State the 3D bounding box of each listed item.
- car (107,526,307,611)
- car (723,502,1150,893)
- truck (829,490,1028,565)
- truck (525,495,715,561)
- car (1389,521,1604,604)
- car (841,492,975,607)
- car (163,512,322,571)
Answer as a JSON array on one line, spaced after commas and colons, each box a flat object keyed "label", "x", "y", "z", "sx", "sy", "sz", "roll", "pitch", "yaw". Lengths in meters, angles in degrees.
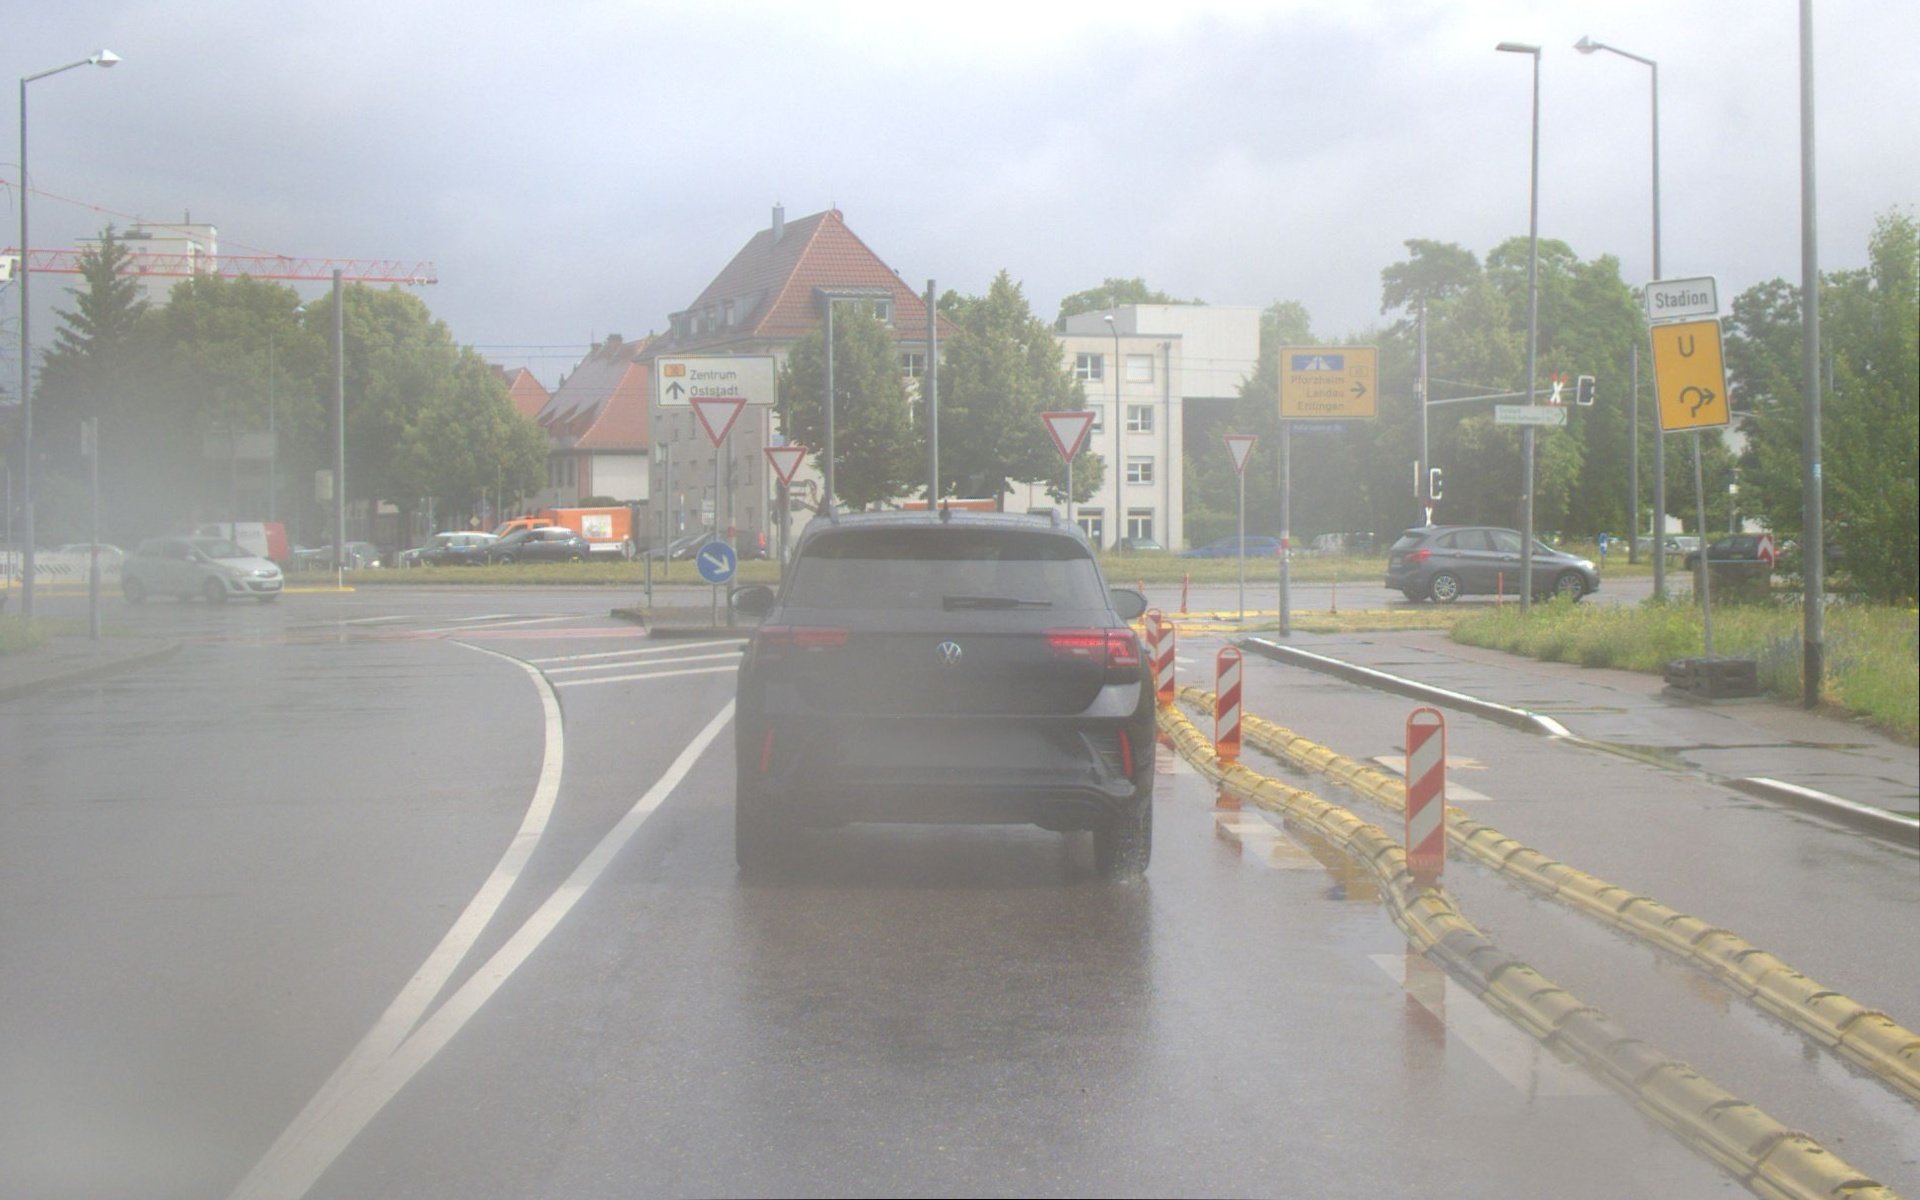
[{"label": "car", "x": -16.453, "y": -0.702, "z": 75.109, "sx": 3.994, "sy": 1.824, "sz": 1.997, "roll": 0, "pitch": 1, "yaw": 31}, {"label": "car", "x": -0.218, "y": 0.372, "z": 15.801, "sx": 1.708, "sy": 1.568, "sz": 3.683, "roll": 1, "pitch": 1, "yaw": -4}, {"label": "truck", "x": -1.111, "y": -2.610, "z": 123.856, "sx": 7.066, "sy": 2.641, "sz": 2.330, "roll": 0, "pitch": 1, "yaw": 1}, {"label": "truck", "x": -12.838, "y": -2.735, "z": 129.845, "sx": 6.701, "sy": 2.434, "sz": 2.435, "roll": -1, "pitch": 1, "yaw": -24}, {"label": "car", "x": 10.828, "y": -0.764, "z": 69.380, "sx": 3.940, "sy": 1.639, "sz": 1.671, "roll": 0, "pitch": 1, "yaw": -18}, {"label": "car", "x": -0.812, "y": -0.845, "z": 56.526, "sx": 1.864, "sy": 1.803, "sz": 4.403, "roll": 0, "pitch": 1, "yaw": 4}, {"label": "car", "x": -23.333, "y": -1.930, "z": 111.970, "sx": 1.892, "sy": 1.870, "sz": 5.122, "roll": 1, "pitch": 2, "yaw": 36}]
